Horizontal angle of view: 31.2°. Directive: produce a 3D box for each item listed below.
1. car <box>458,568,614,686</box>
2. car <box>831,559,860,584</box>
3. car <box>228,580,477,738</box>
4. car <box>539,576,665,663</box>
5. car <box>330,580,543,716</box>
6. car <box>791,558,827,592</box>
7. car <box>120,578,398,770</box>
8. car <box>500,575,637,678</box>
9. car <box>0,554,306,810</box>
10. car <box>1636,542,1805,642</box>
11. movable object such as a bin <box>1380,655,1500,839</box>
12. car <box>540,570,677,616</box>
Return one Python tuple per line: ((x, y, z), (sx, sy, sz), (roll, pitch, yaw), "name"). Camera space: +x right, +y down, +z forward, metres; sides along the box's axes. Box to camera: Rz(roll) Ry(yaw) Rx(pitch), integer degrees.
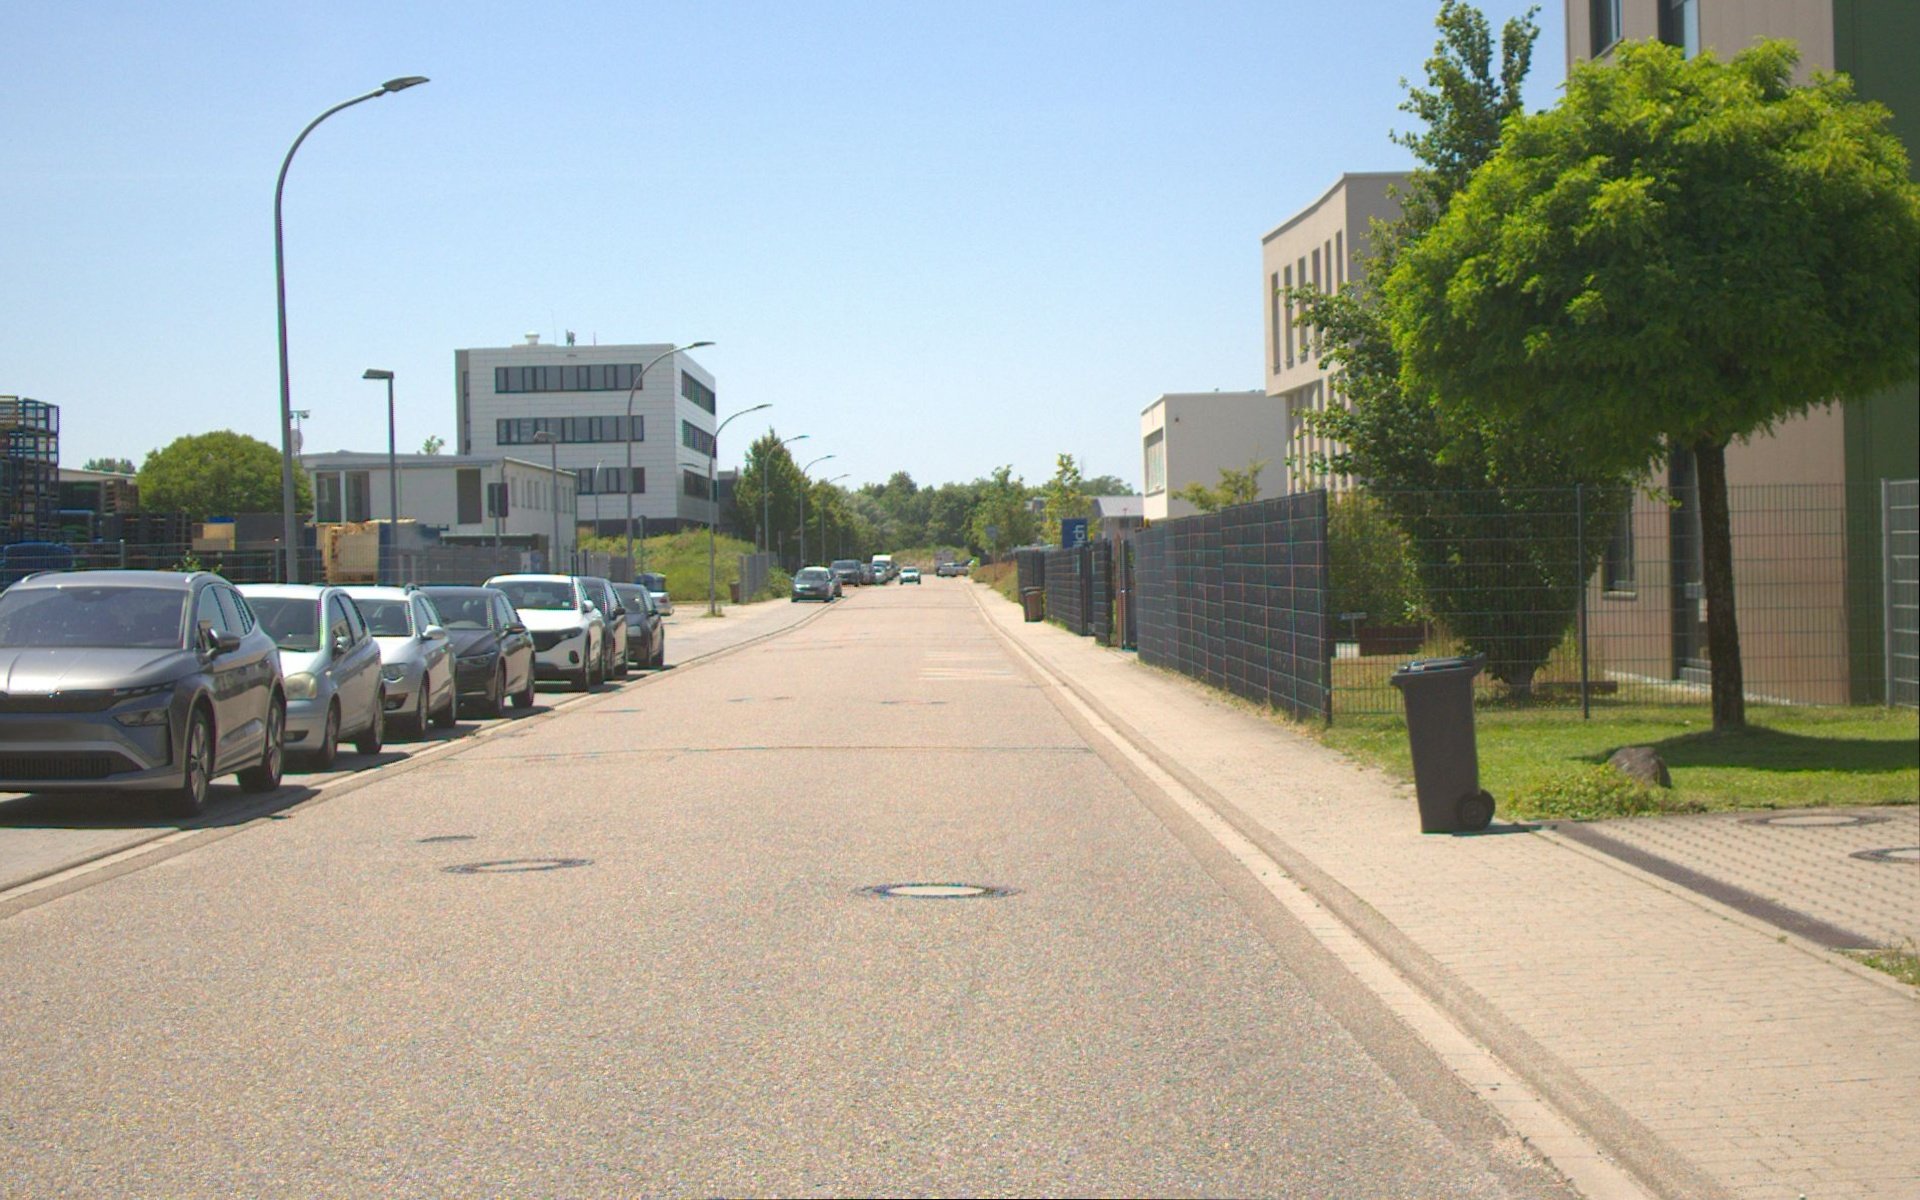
((-5.984, 0.349, 48.919), (1.769, 1.586, 4.360), (0, 0, -1), "car")
((-7.000, -1.768, 209.759), (1.644, 1.484, 3.207), (-1, 1, 0), "car")
((-6.098, 0.545, 35.008), (1.775, 1.475, 4.816), (0, 1, -1), "car")
((-6.245, 0.322, 60.369), (1.769, 1.456, 4.333), (0, 0, 0), "car")
((-6.043, 0.519, 40.111), (1.857, 1.476, 4.229), (0, 1, 0), "car")
((-6.804, -1.121, 154.777), (1.466, 1.484, 3.207), (-1, 1, 0), "car")
((-5.946, 0.585, 29.548), (1.693, 1.520, 3.735), (0, 1, -1), "car")
((-6.148, 0.386, 54.369), (1.769, 1.551, 4.502), (0, 0, -1), "car")
((-5.808, 0.491, 23.792), (1.790, 1.601, 4.463), (0, 1, -1), "car")
((11.654, -0.142, 52.907), (1.655, 1.439, 4.000), (-1, 0, -1), "car")
((2.584, 0.787, 18.489), (0.552, 0.925, 0.521), (-5, 0, 10), "movable object such as a bin")
((-11.600, -0.234, 113.562), (4.277, 1.360, 1.898), (-2, 1, 0), "car")
